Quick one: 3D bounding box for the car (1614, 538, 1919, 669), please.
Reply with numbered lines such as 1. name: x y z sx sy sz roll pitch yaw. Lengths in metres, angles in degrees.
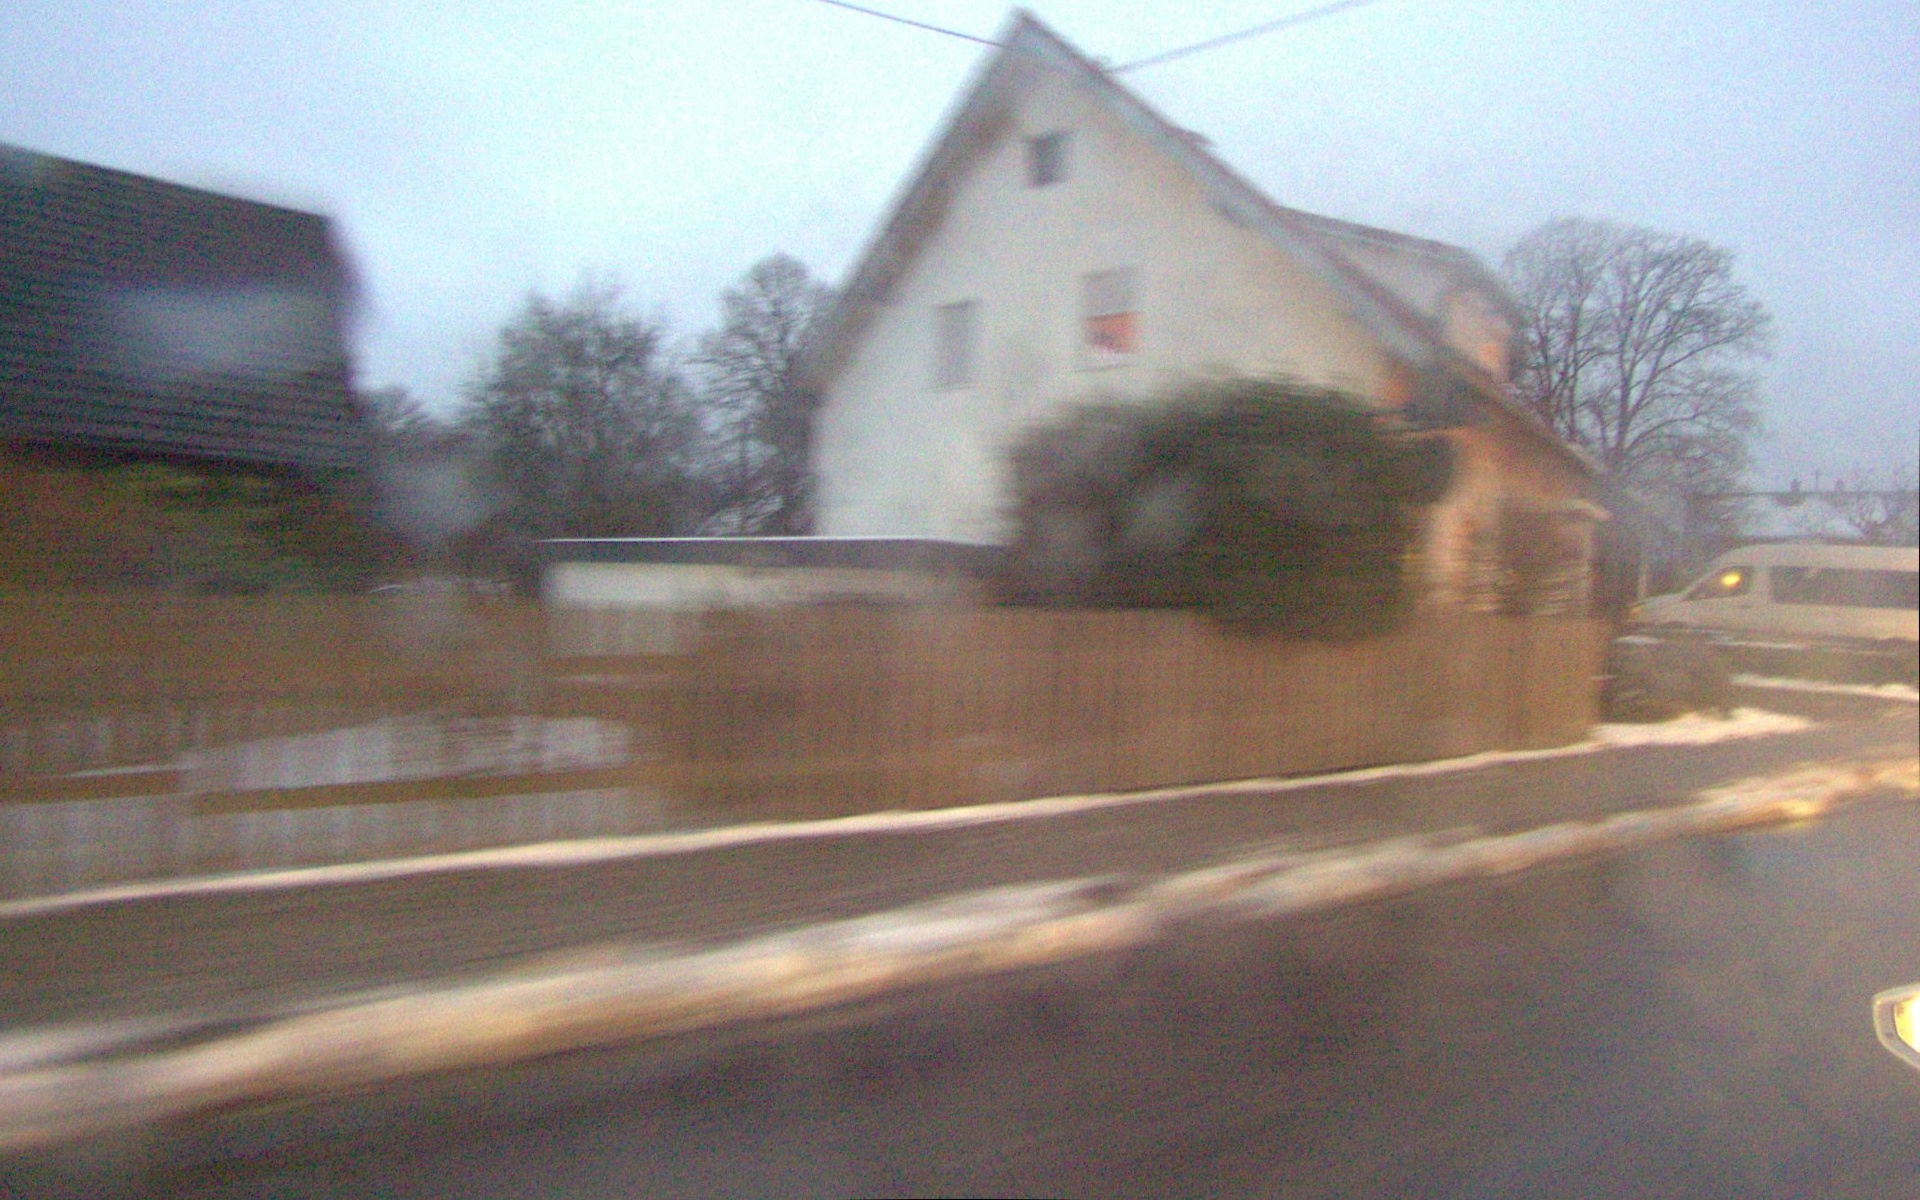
1. car: 17.850 0.037 21.728 6.006 2.587 1.997 2 0 30
